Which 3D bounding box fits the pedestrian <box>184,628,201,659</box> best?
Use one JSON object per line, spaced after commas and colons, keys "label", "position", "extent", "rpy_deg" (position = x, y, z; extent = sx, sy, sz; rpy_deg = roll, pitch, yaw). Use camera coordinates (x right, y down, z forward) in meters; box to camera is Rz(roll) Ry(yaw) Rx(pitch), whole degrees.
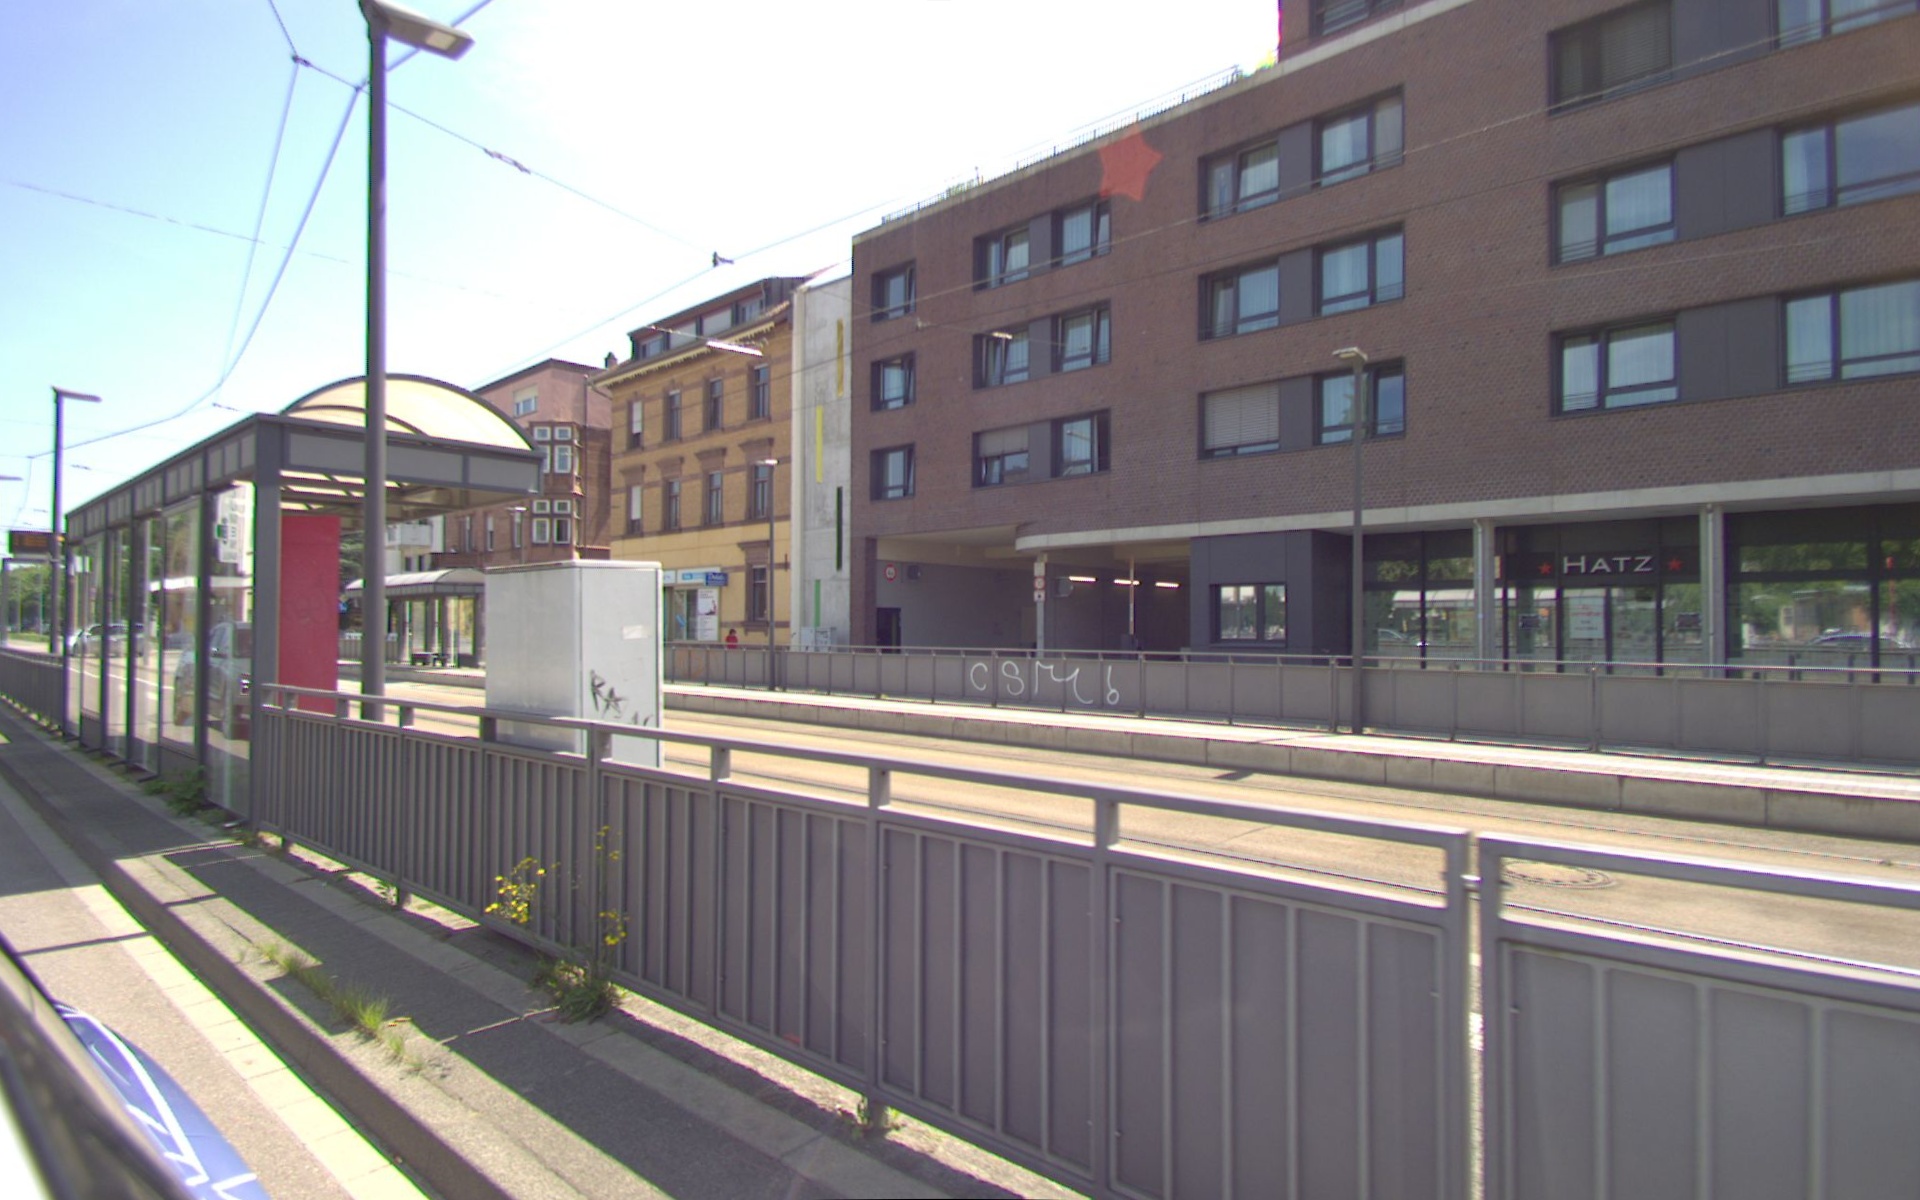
{"label": "pedestrian", "position": [-40.563, 2.310, 53.490], "extent": [0.676, 1.637, 0.589], "rpy_deg": [-2, -4, 43]}

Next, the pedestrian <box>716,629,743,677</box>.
{"label": "pedestrian", "position": [-7.828, 1.805, 34.382], "extent": [0.715, 1.608, 0.597], "rpy_deg": [-2, -2, 41]}
